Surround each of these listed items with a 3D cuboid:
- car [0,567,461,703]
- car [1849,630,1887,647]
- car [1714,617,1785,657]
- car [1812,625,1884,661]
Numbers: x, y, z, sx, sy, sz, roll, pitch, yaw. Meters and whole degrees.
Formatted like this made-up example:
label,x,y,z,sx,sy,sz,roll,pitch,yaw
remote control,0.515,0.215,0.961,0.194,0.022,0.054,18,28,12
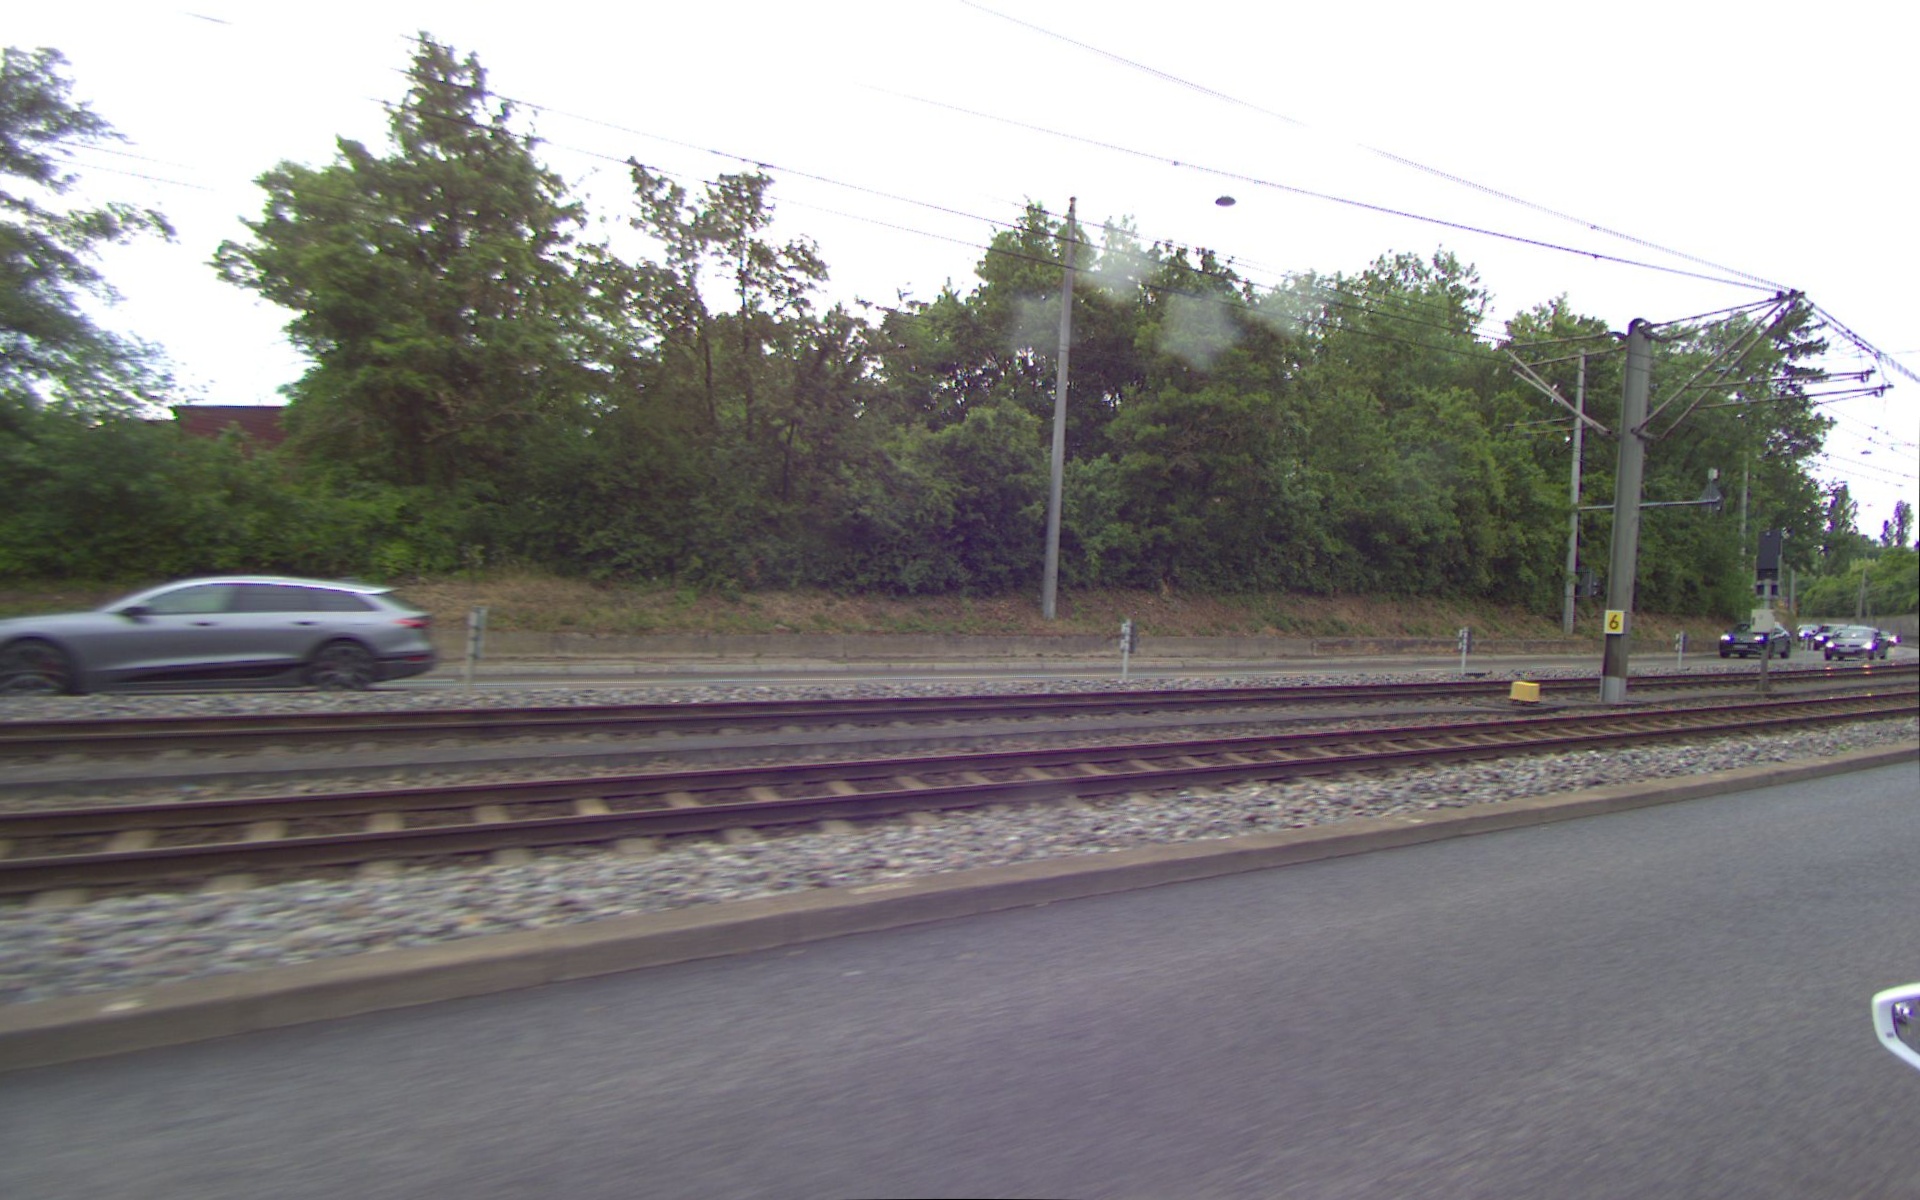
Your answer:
label,x,y,z,sx,sy,sz,roll,pitch,yaw
car,-8.978,0.440,12.587,4.797,1.457,1.853,1,-2,-30
car,70.575,2.983,78.099,1.522,1.274,3.950,-1,-2,32
car,36.012,1.681,45.765,4.704,1.692,1.768,2,0,-42
car,39.085,1.883,44.192,3.997,1.433,1.692,2,0,-39
